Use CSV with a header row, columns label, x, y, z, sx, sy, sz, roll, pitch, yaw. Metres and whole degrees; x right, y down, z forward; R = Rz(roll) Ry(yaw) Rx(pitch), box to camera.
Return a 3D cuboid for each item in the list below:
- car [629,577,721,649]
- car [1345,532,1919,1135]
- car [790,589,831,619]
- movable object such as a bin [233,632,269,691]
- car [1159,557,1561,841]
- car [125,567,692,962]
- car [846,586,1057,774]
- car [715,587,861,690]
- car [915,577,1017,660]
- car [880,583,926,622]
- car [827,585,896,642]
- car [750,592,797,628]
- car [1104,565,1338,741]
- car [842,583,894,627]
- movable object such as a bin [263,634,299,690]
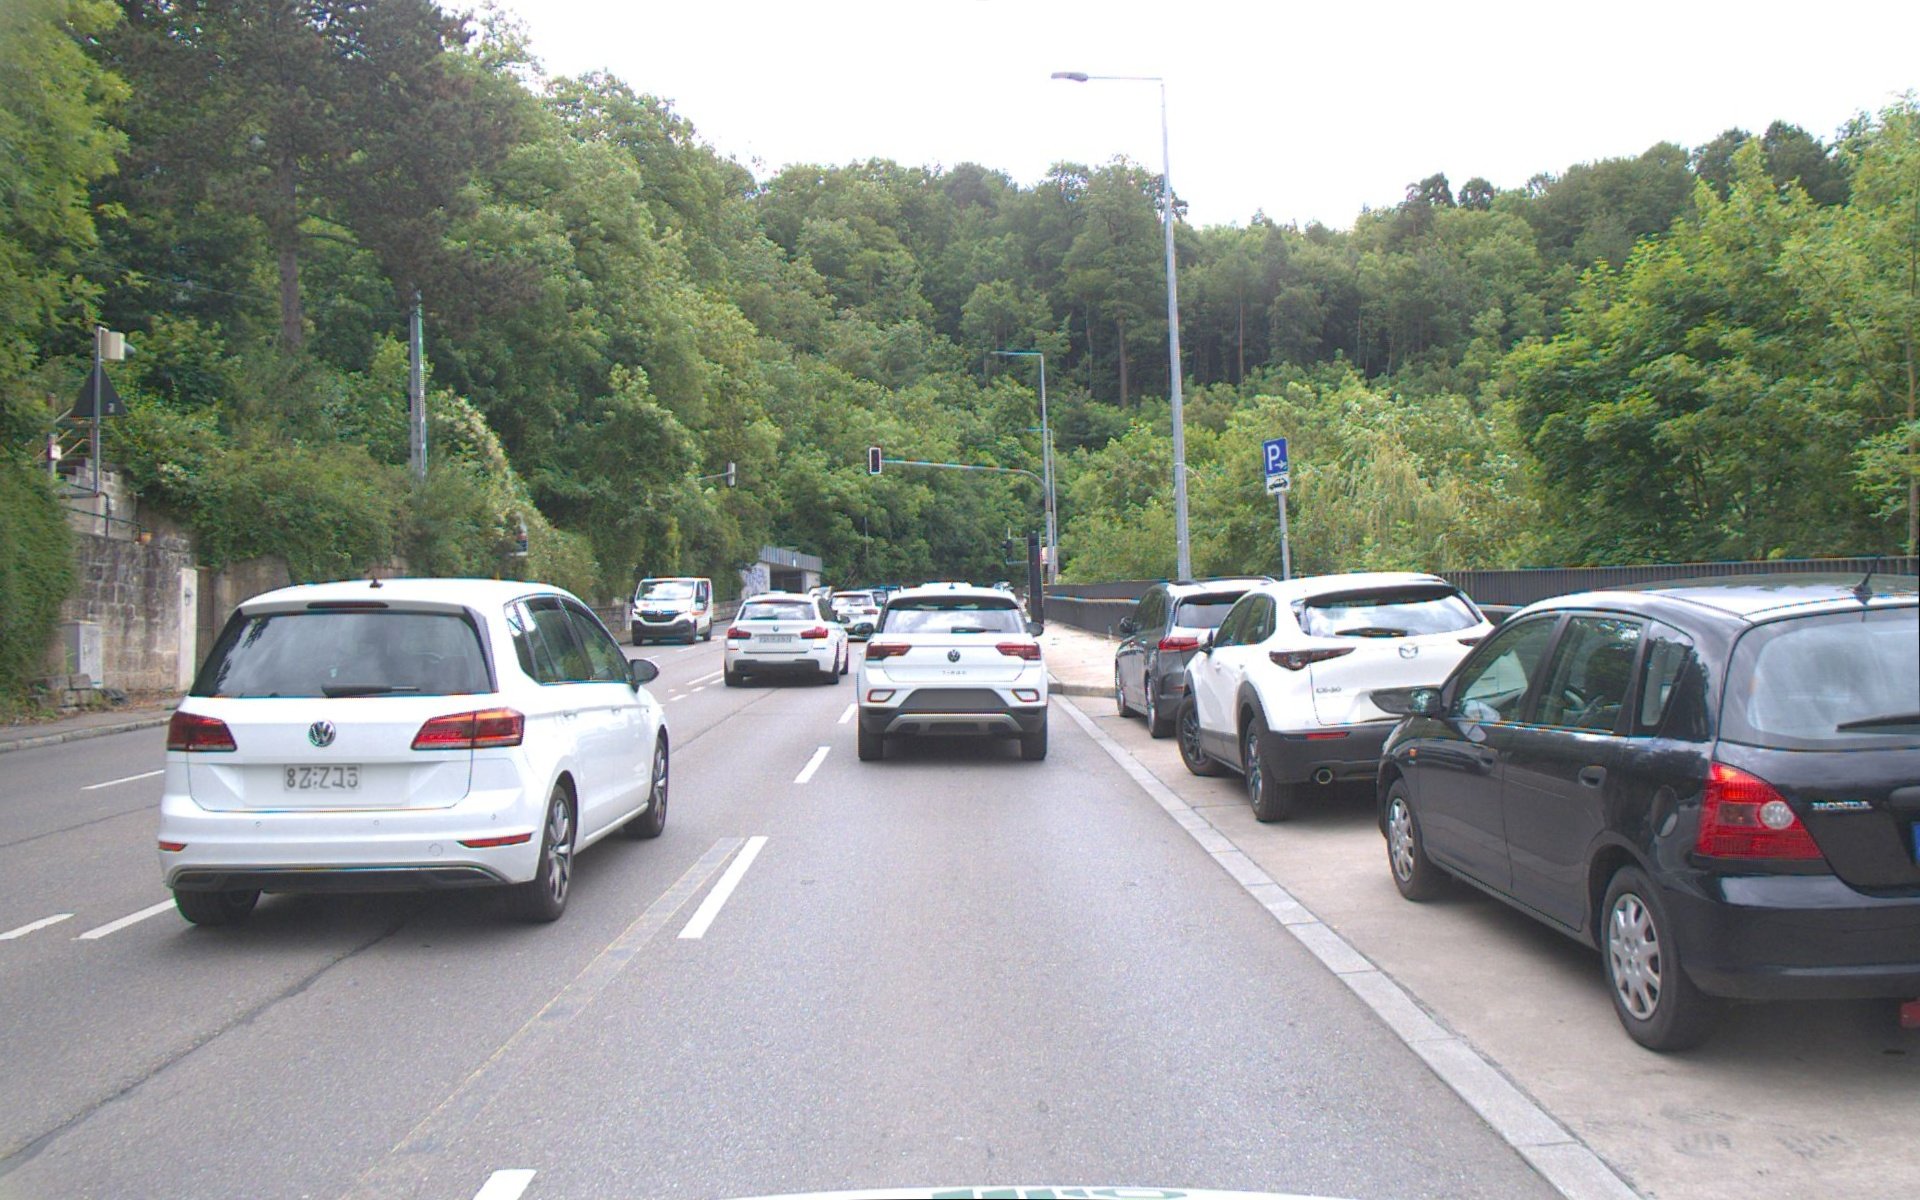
label,x,y,z,sx,sy,sz,roll,pitch,yaw
car,-8.614,0.372,50.476,1.882,2.040,5.355,-1,0,0
car,2.943,0.598,6.679,1.626,1.599,4.254,-4,0,-1
car,-8.361,0.218,92.576,1.902,1.576,4.248,-2,0,-1
movable object such as a bin,-12.053,1.040,28.120,0.468,0.988,0.367,0,0,-5
car,2.645,0.588,12.085,1.691,1.596,4.623,-3,0,-1
car,-2.596,0.663,8.901,1.685,1.581,4.274,-1,0,-1
car,0.012,0.691,16.320,1.776,1.566,4.010,-2,0,2
car,-2.822,0.588,28.078,1.952,1.585,4.681,0,0,0
car,0.203,0.423,39.598,1.951,1.875,4.153,0,0,7
car,-2.810,0.109,82.390,1.952,1.897,4.001,-1,0,2
car,-2.918,0.364,49.545,1.824,1.623,4.000,0,0,0
car,-8.693,0.458,77.262,1.641,1.467,4.235,0,2,1
car,2.725,0.504,18.280,1.721,1.570,4.426,-4,0,-1
car,-3.784,0.194,68.473,1.953,1.771,3.999,-1,0,-1
movable object such as a bin,-11.557,1.053,28.156,0.469,0.952,0.365,0,0,-5
